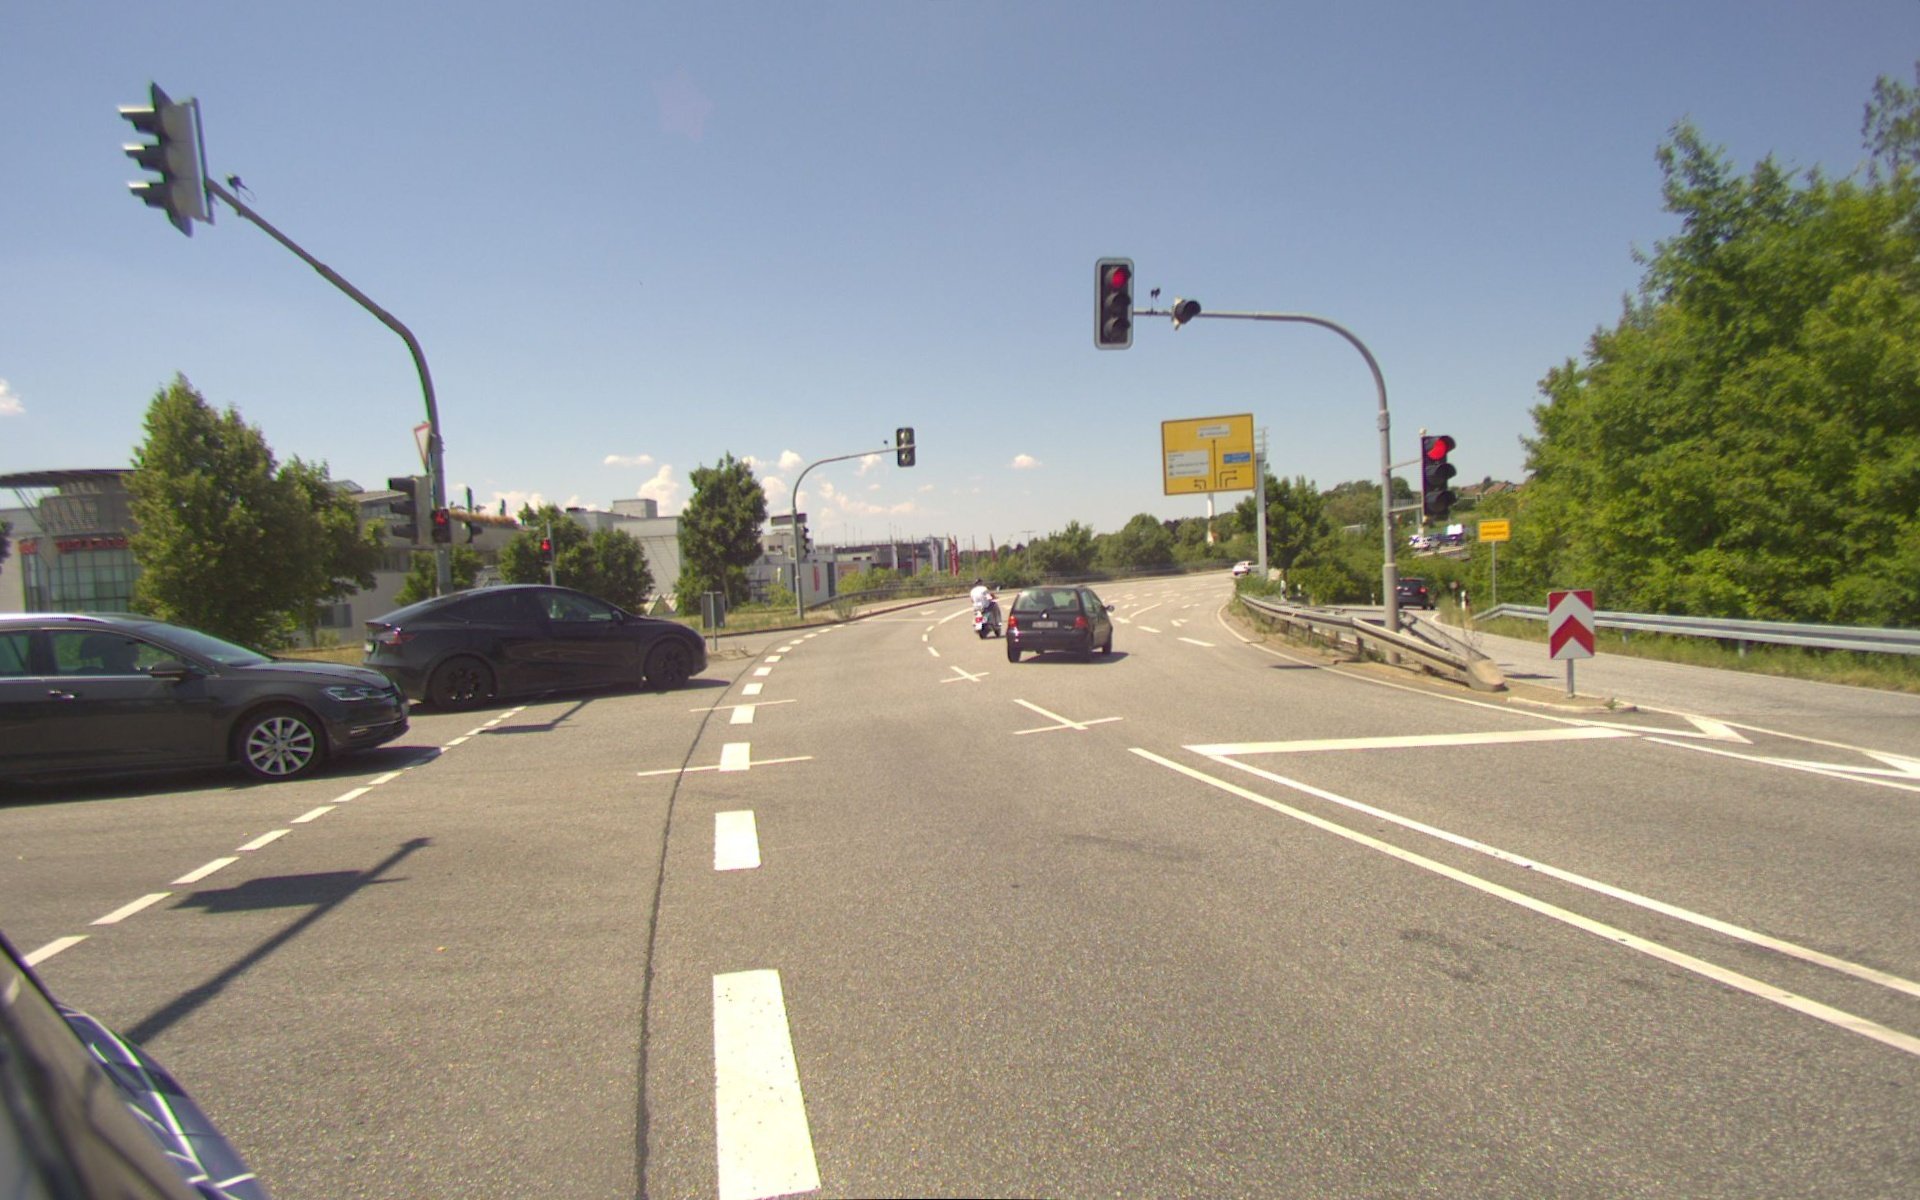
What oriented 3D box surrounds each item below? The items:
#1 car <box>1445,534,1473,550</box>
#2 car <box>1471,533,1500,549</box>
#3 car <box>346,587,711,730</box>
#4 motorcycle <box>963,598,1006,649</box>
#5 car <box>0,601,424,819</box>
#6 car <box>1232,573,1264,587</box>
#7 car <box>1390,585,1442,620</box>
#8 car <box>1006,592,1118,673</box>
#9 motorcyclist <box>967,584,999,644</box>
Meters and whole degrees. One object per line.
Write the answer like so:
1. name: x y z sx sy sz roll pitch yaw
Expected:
1. car: 68.584 -7.995 139.073 3.938 2.028 2.003 -4 2 -40
2. car: 71.162 -7.969 137.032 3.938 2.028 2.003 -4 2 -40
3. car: -6.050 0.702 14.477 4.434 1.613 1.885 -3 2 -39
4. motorcycle: 0.666 0.611 26.987 0.573 1.247 1.929 -2 1 18
5. car: -7.197 0.880 8.669 4.353 1.493 1.790 -3 2 -20
6. car: 30.558 -2.110 107.238 1.647 1.405 3.934 2 3 43
7. car: 23.768 0.087 52.644 1.898 1.644 4.230 3 3 31
8. car: 2.056 0.588 19.639 1.610 1.418 3.284 -2 0 16
9. motorcyclist: 0.616 0.354 26.876 0.608 1.551 0.842 -2 1 19
